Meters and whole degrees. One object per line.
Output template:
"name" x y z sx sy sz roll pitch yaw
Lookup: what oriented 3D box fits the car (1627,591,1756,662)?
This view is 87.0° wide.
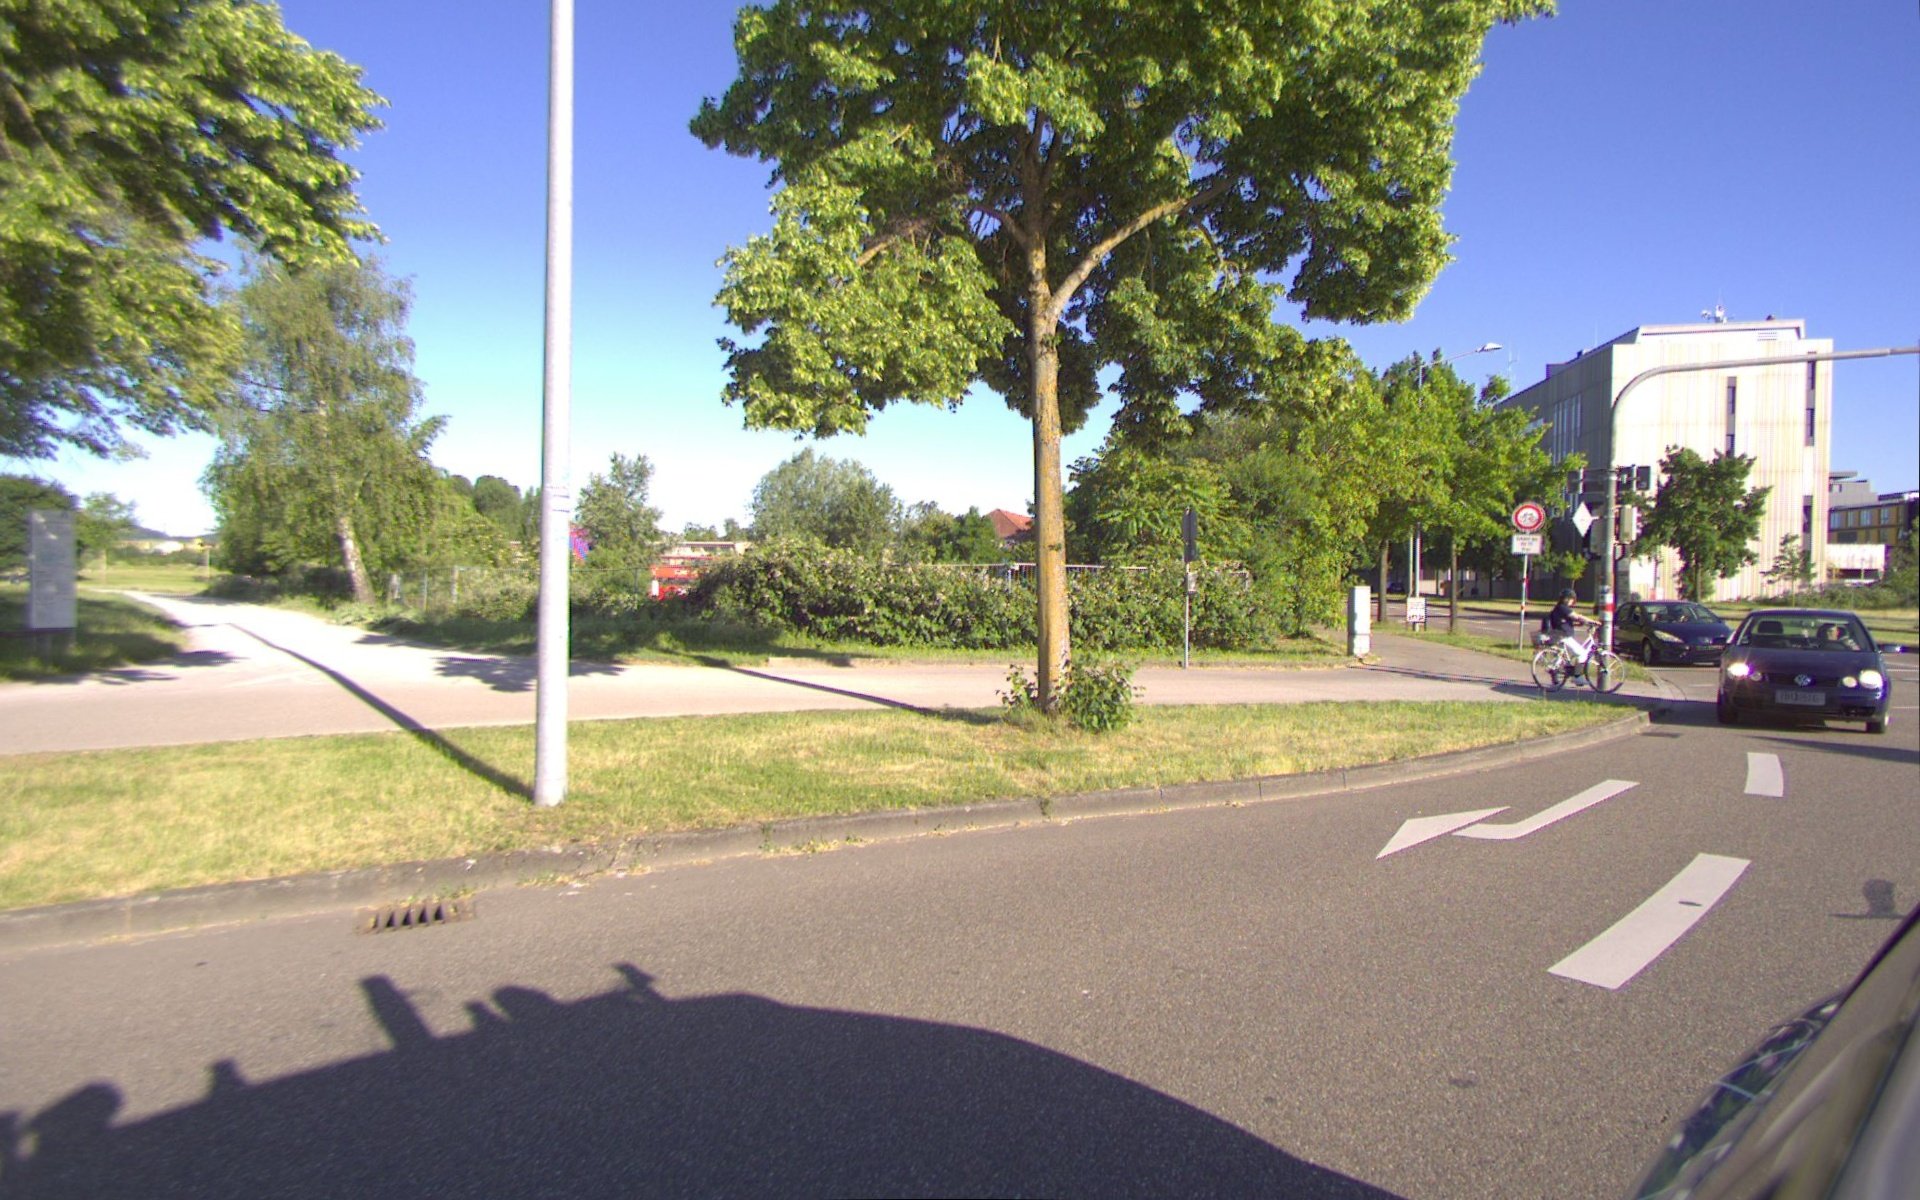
"car" 16.969 0.555 23.677 1.740 1.472 3.965 -1 1 26

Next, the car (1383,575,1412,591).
"car" 49.483 -1.908 114.536 1.968 1.760 4.725 0 2 10

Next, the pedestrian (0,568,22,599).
"pedestrian" -45.842 -0.798 48.655 0.758 1.458 0.795 0 0 -5

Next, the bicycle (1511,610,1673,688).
"bicycle" 10.240 0.779 16.425 2.170 1.169 0.878 1 2 -11

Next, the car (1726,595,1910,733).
"car" 11.390 0.702 13.495 1.631 1.486 4.479 0 1 40

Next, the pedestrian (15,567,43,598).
"pedestrian" -44.560 -0.829 48.451 0.648 1.458 0.795 0 0 -5

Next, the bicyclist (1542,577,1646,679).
"bicyclist" 10.267 0.445 16.426 1.065 1.581 0.878 1 2 -11
